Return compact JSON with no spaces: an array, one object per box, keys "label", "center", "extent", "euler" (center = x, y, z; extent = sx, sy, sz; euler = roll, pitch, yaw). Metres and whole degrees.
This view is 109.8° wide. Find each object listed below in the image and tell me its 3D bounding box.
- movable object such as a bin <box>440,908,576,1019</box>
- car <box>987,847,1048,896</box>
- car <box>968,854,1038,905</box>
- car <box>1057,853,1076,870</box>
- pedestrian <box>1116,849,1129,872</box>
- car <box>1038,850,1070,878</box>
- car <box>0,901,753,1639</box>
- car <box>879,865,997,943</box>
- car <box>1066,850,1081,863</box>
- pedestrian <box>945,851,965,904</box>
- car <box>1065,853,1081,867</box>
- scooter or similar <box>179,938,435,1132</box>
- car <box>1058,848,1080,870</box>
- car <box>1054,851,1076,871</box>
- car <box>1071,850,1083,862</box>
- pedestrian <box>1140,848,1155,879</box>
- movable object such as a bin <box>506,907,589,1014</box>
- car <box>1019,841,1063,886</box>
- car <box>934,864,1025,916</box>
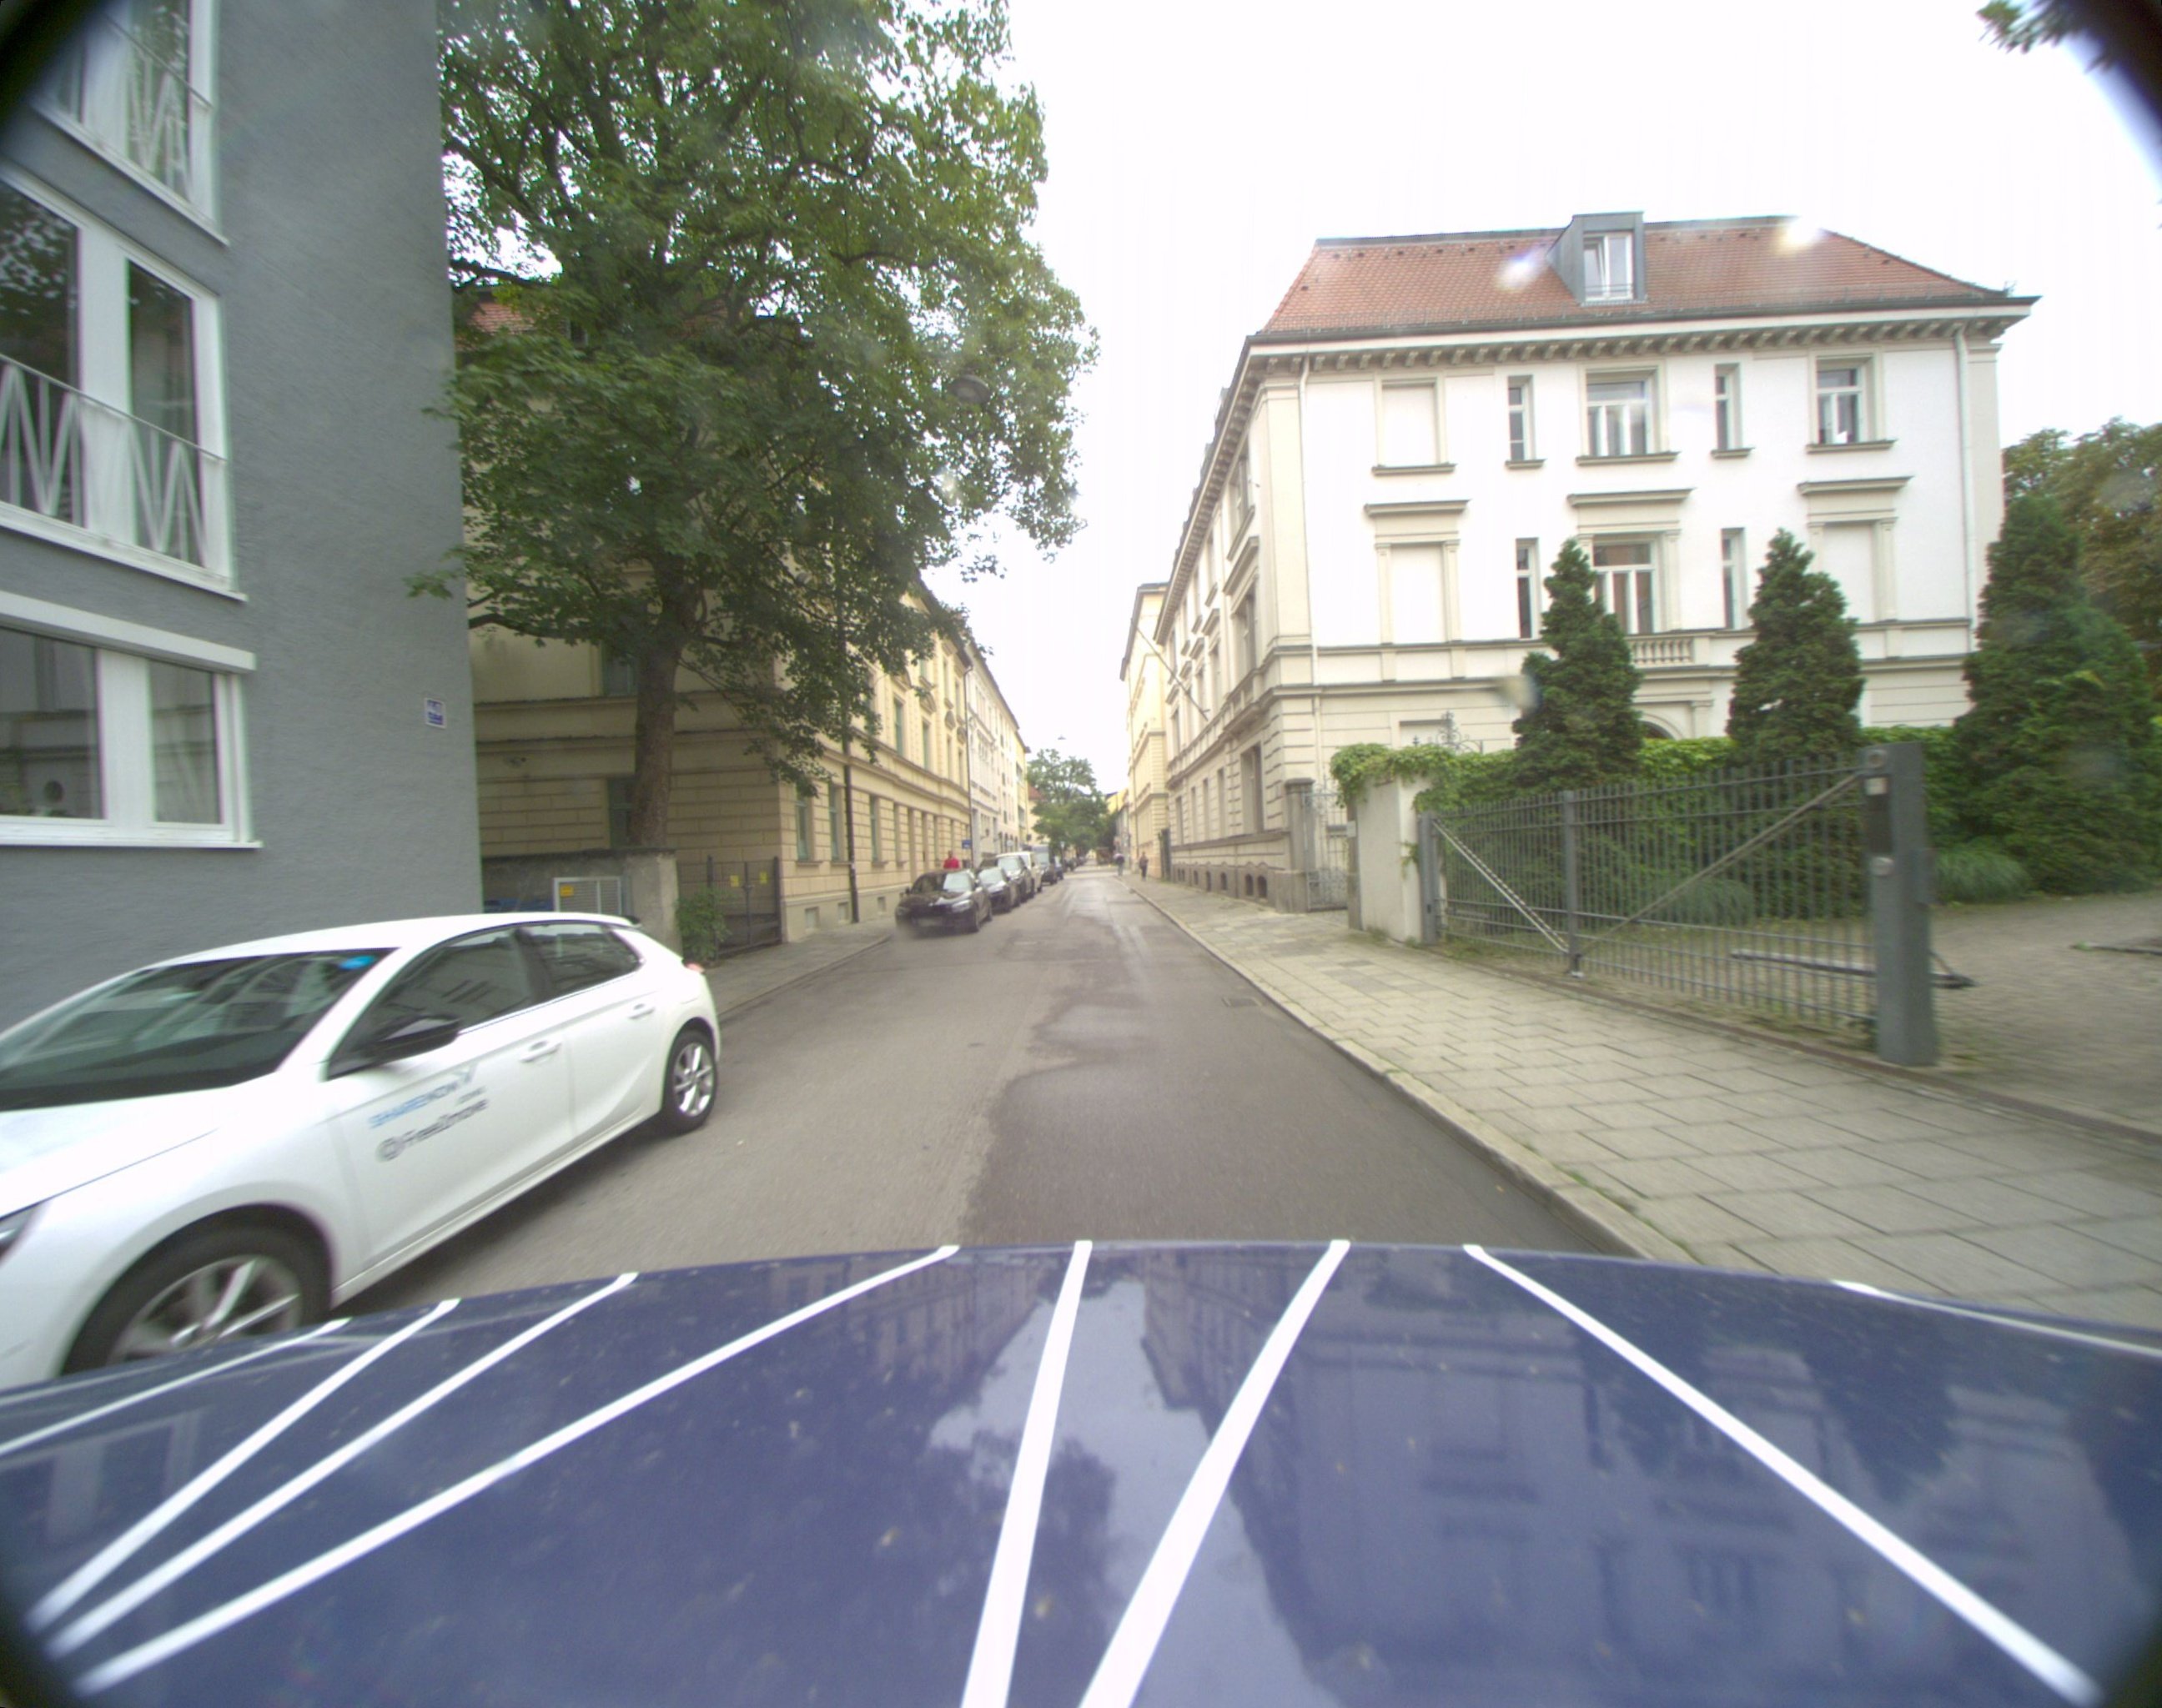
[{"label":"movable object such as a bin","center":[-8.062,1.514,10.752],"extent":[1.001,1.351,1.053],"euler":[-5,0,0]},{"label":"car","center":[-2.792,0.738,34.547],"extent":[1.998,2.002,5.064],"euler":[-2,0,3]},{"label":"car","center":[-2.826,0.894,28.527],"extent":[1.998,1.677,4.510],"euler":[-2,0,2]},{"label":"car","center":[-1.868,0.929,98.649],"extent":[2.014,1.969,5.090],"euler":[-6,0,2]},{"label":"pedestrian","center":[3.271,0.485,59.804],"extent":[0.920,1.742,1.066],"euler":[-2,0,0]},{"label":"car","center":[-2.094,0.784,61.067],"extent":[2.014,1.989,5.090],"euler":[-6,0,2]},{"label":"car","center":[-3.340,1.144,3.180],"extent":[1.773,1.437,4.344],"euler":[-6,0,2]},{"label":"car","center":[-3.211,1.070,17.998],"extent":[1.860,1.366,4.509],"euler":[-5,0,0]},{"label":"car","center":[-1.239,0.382,124.886],"extent":[2.014,1.969,5.090],"euler":[-6,0,2]},{"label":"pedestrian","center":[-4.813,0.889,29.025],"extent":[0.581,1.966,0.455],"euler":[-3,1,1]},{"label":"car","center":[-1.136,0.870,113.748],"extent":[2.014,1.969,5.090],"euler":[-6,0,2]},{"label":"scooter or similar","center":[-5.917,1.326,5.922],"extent":[0.506,1.167,1.376],"euler":[-2,1,2]},{"label":"car","center":[-1.391,0.558,90.676],"extent":[2.242,2.246,5.090],"euler":[-6,0,2]},{"label":"car","center":[-1.735,0.765,84.214],"extent":[2.014,1.914,5.090],"euler":[-6,0,2]},{"label":"car","center":[-0.717,0.358,145.162],"extent":[2.014,1.969,5.090],"euler":[-6,0,2]},{"label":"pedestrian","center":[3.846,0.548,43.967],"extent":[0.766,1.742,0.970],"euler":[-2,1,0]},{"label":"movable object such as a bin","center":[-7.412,1.460,10.575],"extent":[0.591,1.351,0.633],"euler":[-5,0,0]},{"label":"car","center":[-2.436,0.538,47.649],"extent":[2.014,2.479,5.090],"euler":[-6,0,2]},{"label":"car","center":[-2.955,1.029,23.214],"extent":[1.998,1.306,4.593],"euler":[-2,0,2]}]
